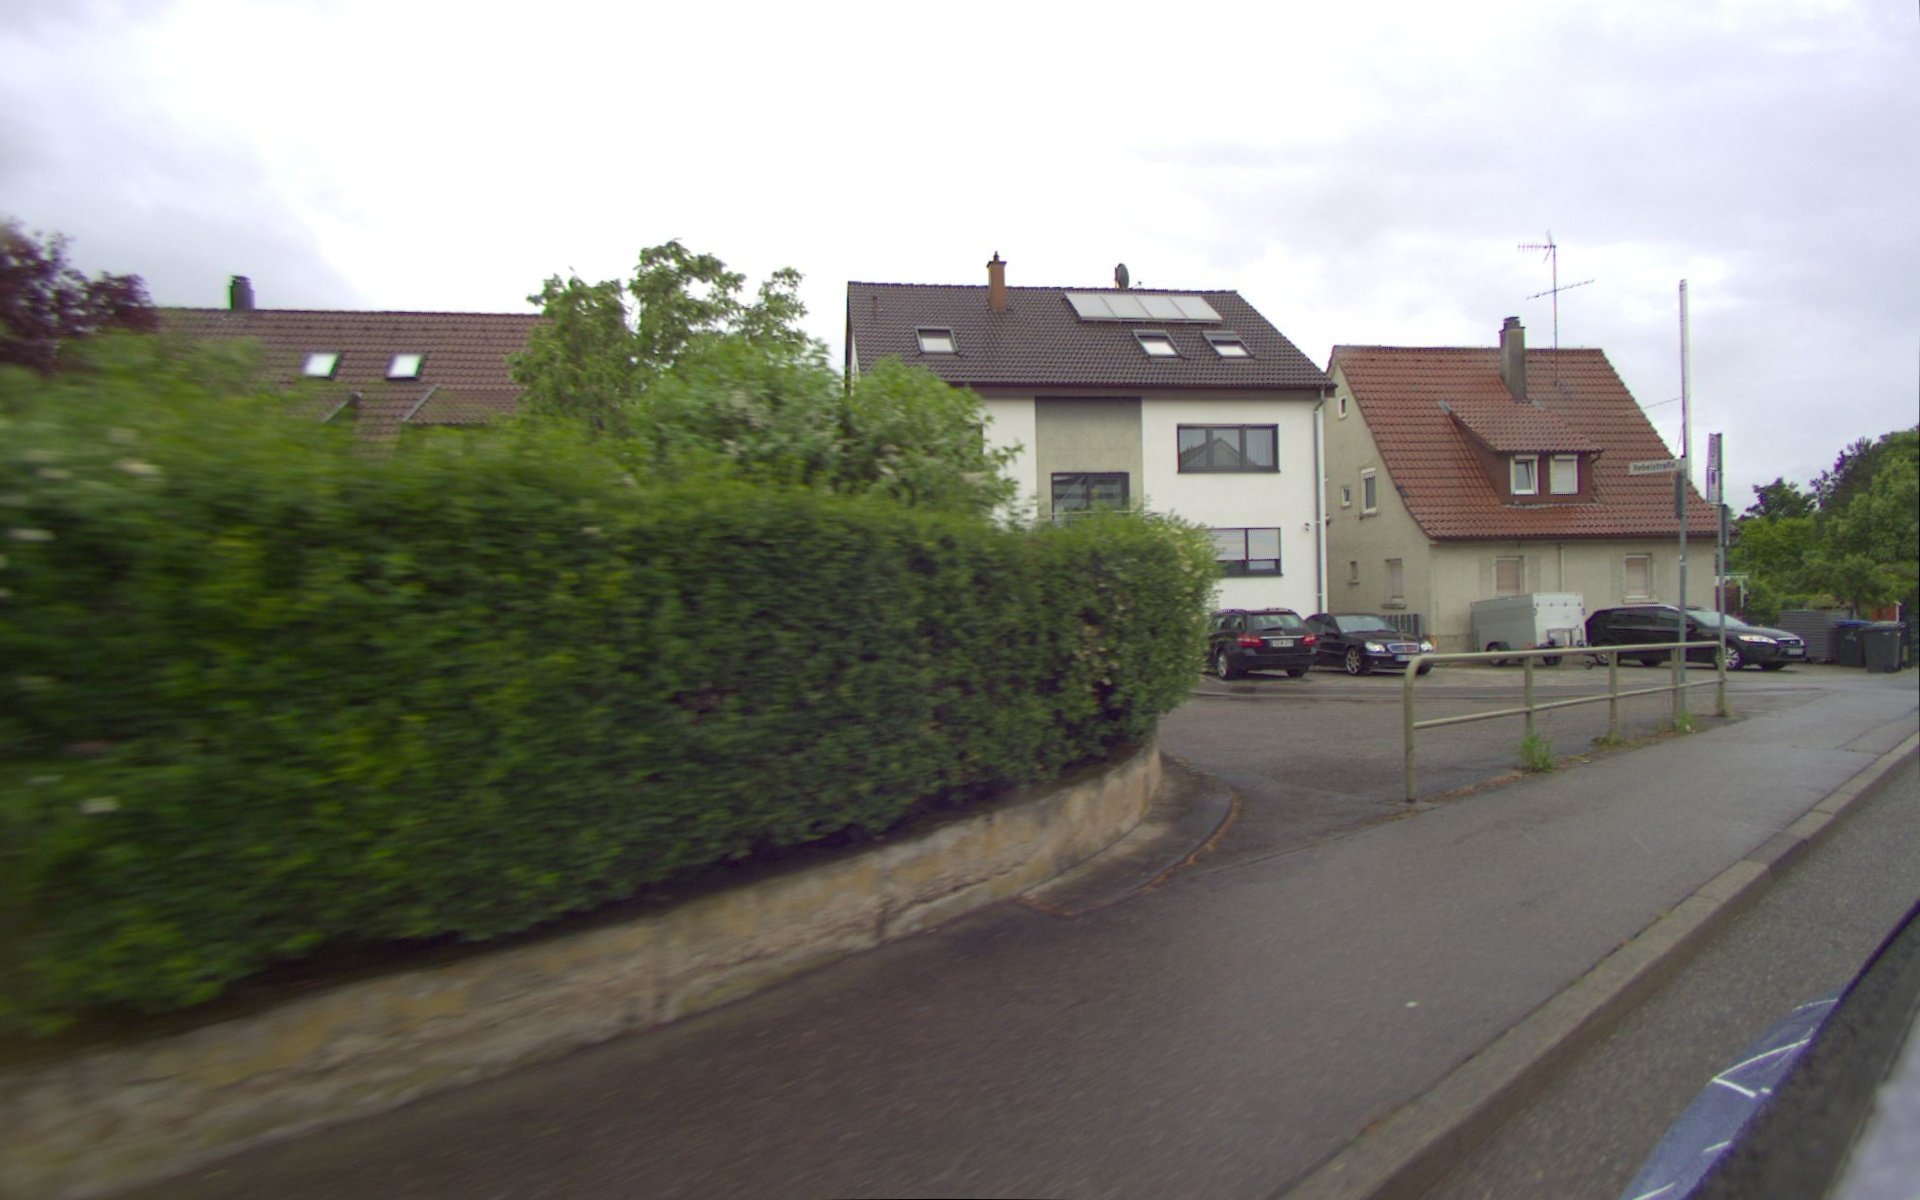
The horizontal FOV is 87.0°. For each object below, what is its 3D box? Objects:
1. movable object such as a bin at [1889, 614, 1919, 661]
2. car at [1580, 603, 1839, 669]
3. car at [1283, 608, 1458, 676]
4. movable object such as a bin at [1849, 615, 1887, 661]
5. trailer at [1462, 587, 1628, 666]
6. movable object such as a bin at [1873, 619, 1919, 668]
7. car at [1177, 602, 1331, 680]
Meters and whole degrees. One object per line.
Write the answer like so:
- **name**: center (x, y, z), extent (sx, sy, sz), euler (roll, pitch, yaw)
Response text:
- **movable object such as a bin**: center (21.840, 0.855, 23.192), extent (0.718, 1.034, 0.532), euler (1, 0, -22)
- **car**: center (17.614, 0.837, 24.088), extent (1.958, 1.402, 4.580), euler (1, -2, -22)
- **car**: center (9.146, 0.881, 23.017), extent (1.749, 1.340, 4.405), euler (-1, 0, -6)
- **movable object such as a bin**: center (21.249, 0.887, 23.695), extent (0.513, 1.034, 0.445), euler (1, 0, -19)
- **trailer**: center (14.617, 0.635, 25.498), extent (1.653, 1.821, 3.469), euler (-1, -1, -13)
- **movable object such as a bin**: center (20.644, 0.944, 22.319), extent (0.530, 1.034, 0.629), euler (1, 0, -36)
- **car**: center (6.459, 0.856, 22.719), extent (1.835, 1.482, 4.004), euler (-3, 0, -6)
